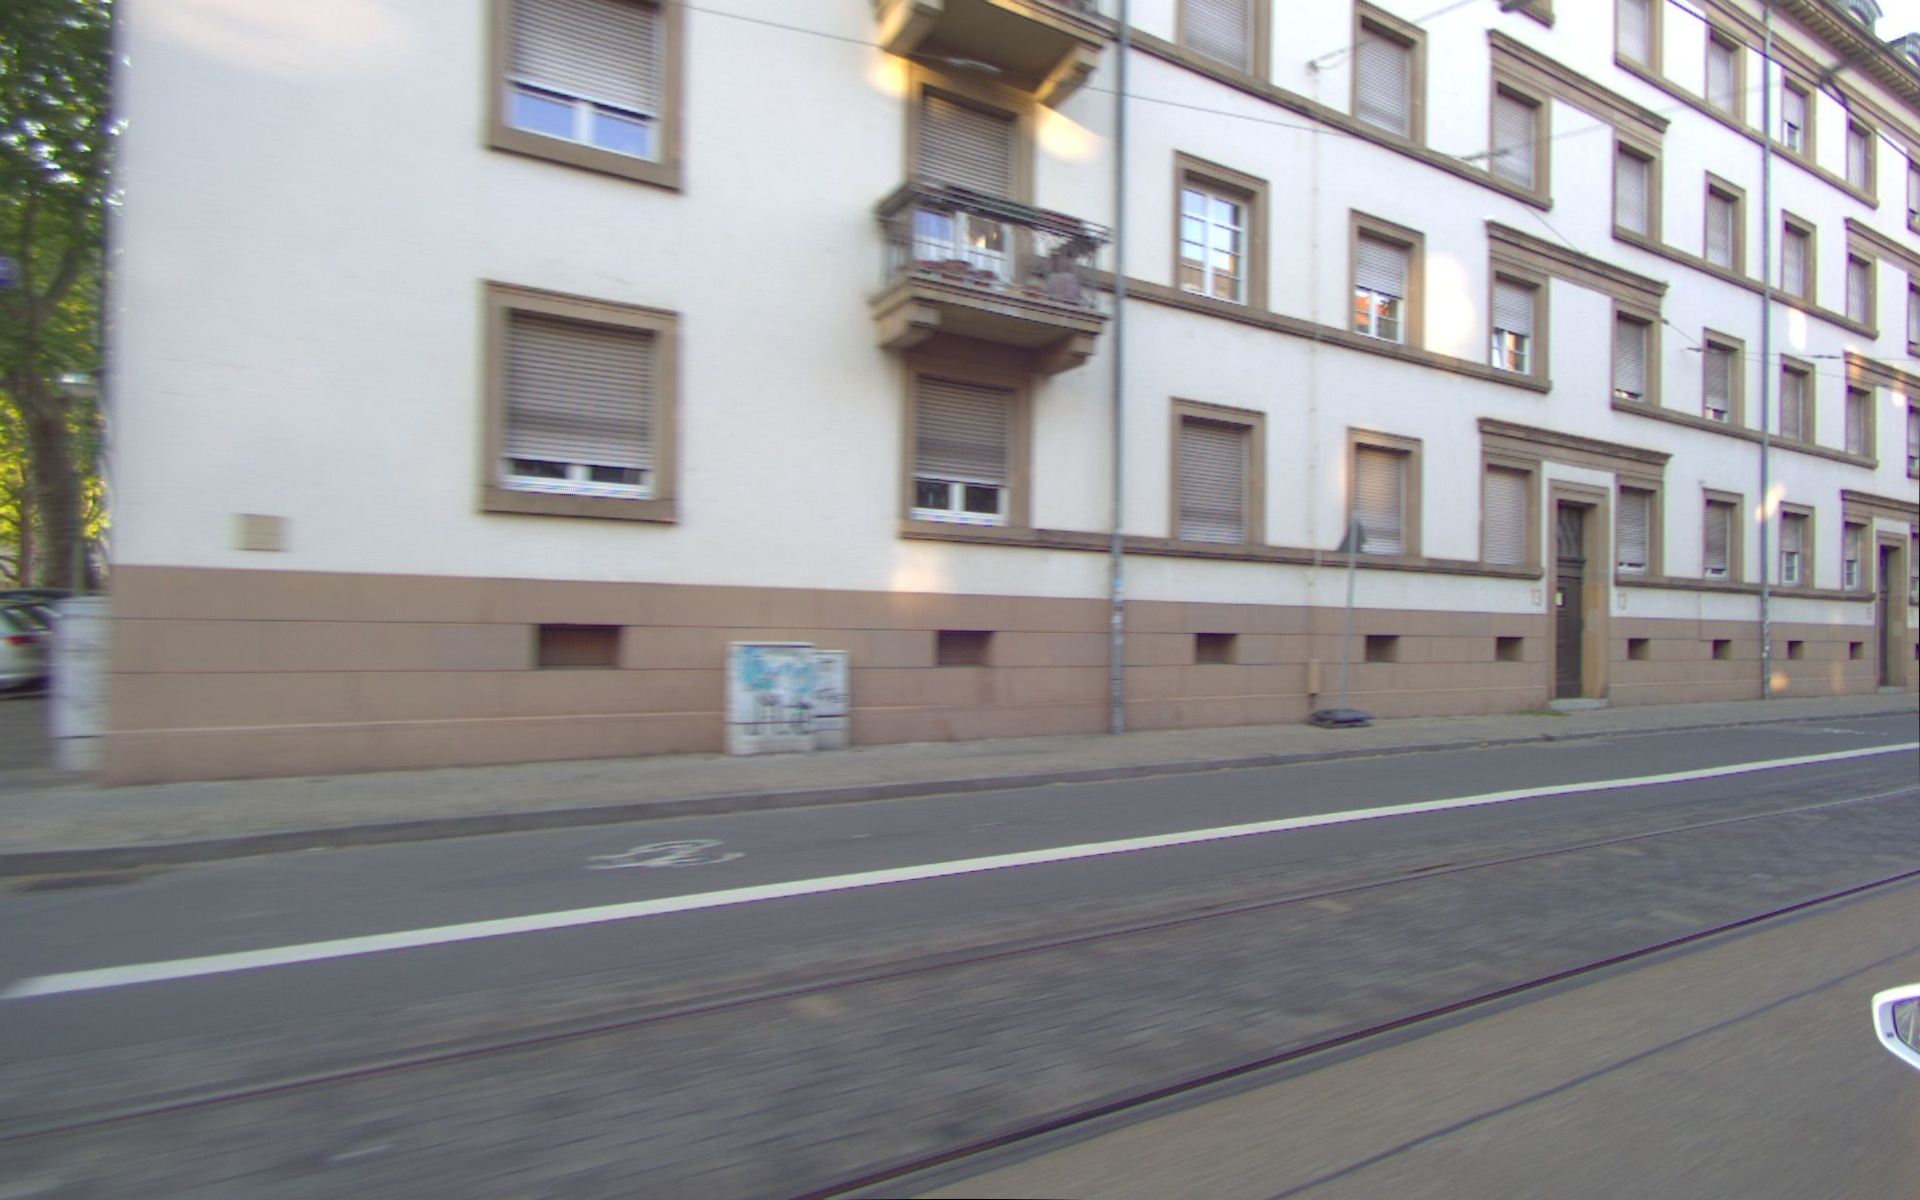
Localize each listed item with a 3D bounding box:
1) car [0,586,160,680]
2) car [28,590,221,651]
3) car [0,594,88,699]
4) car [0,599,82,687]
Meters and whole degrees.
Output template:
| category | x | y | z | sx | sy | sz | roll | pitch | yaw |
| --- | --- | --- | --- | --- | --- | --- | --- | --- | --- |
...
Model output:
| category | x | y | z | sx | sy | sz | roll | pitch | yaw |
| --- | --- | --- | --- | --- | --- | --- | --- | --- | --- |
| car | -17.404 | 0.600 | 18.375 | 4.043 | 1.635 | 1.745 | -1 | 1 | -30 |
| car | -24.315 | 0.552 | 29.431 | 4.043 | 1.635 | 1.745 | -1 | 1 | -30 |
| car | -14.569 | 0.644 | 13.172 | 4.420 | 1.378 | 1.745 | -1 | 1 | -30 |
| car | -16.809 | 0.709 | 15.920 | 4.043 | 1.378 | 1.745 | -1 | 1 | -30 |
